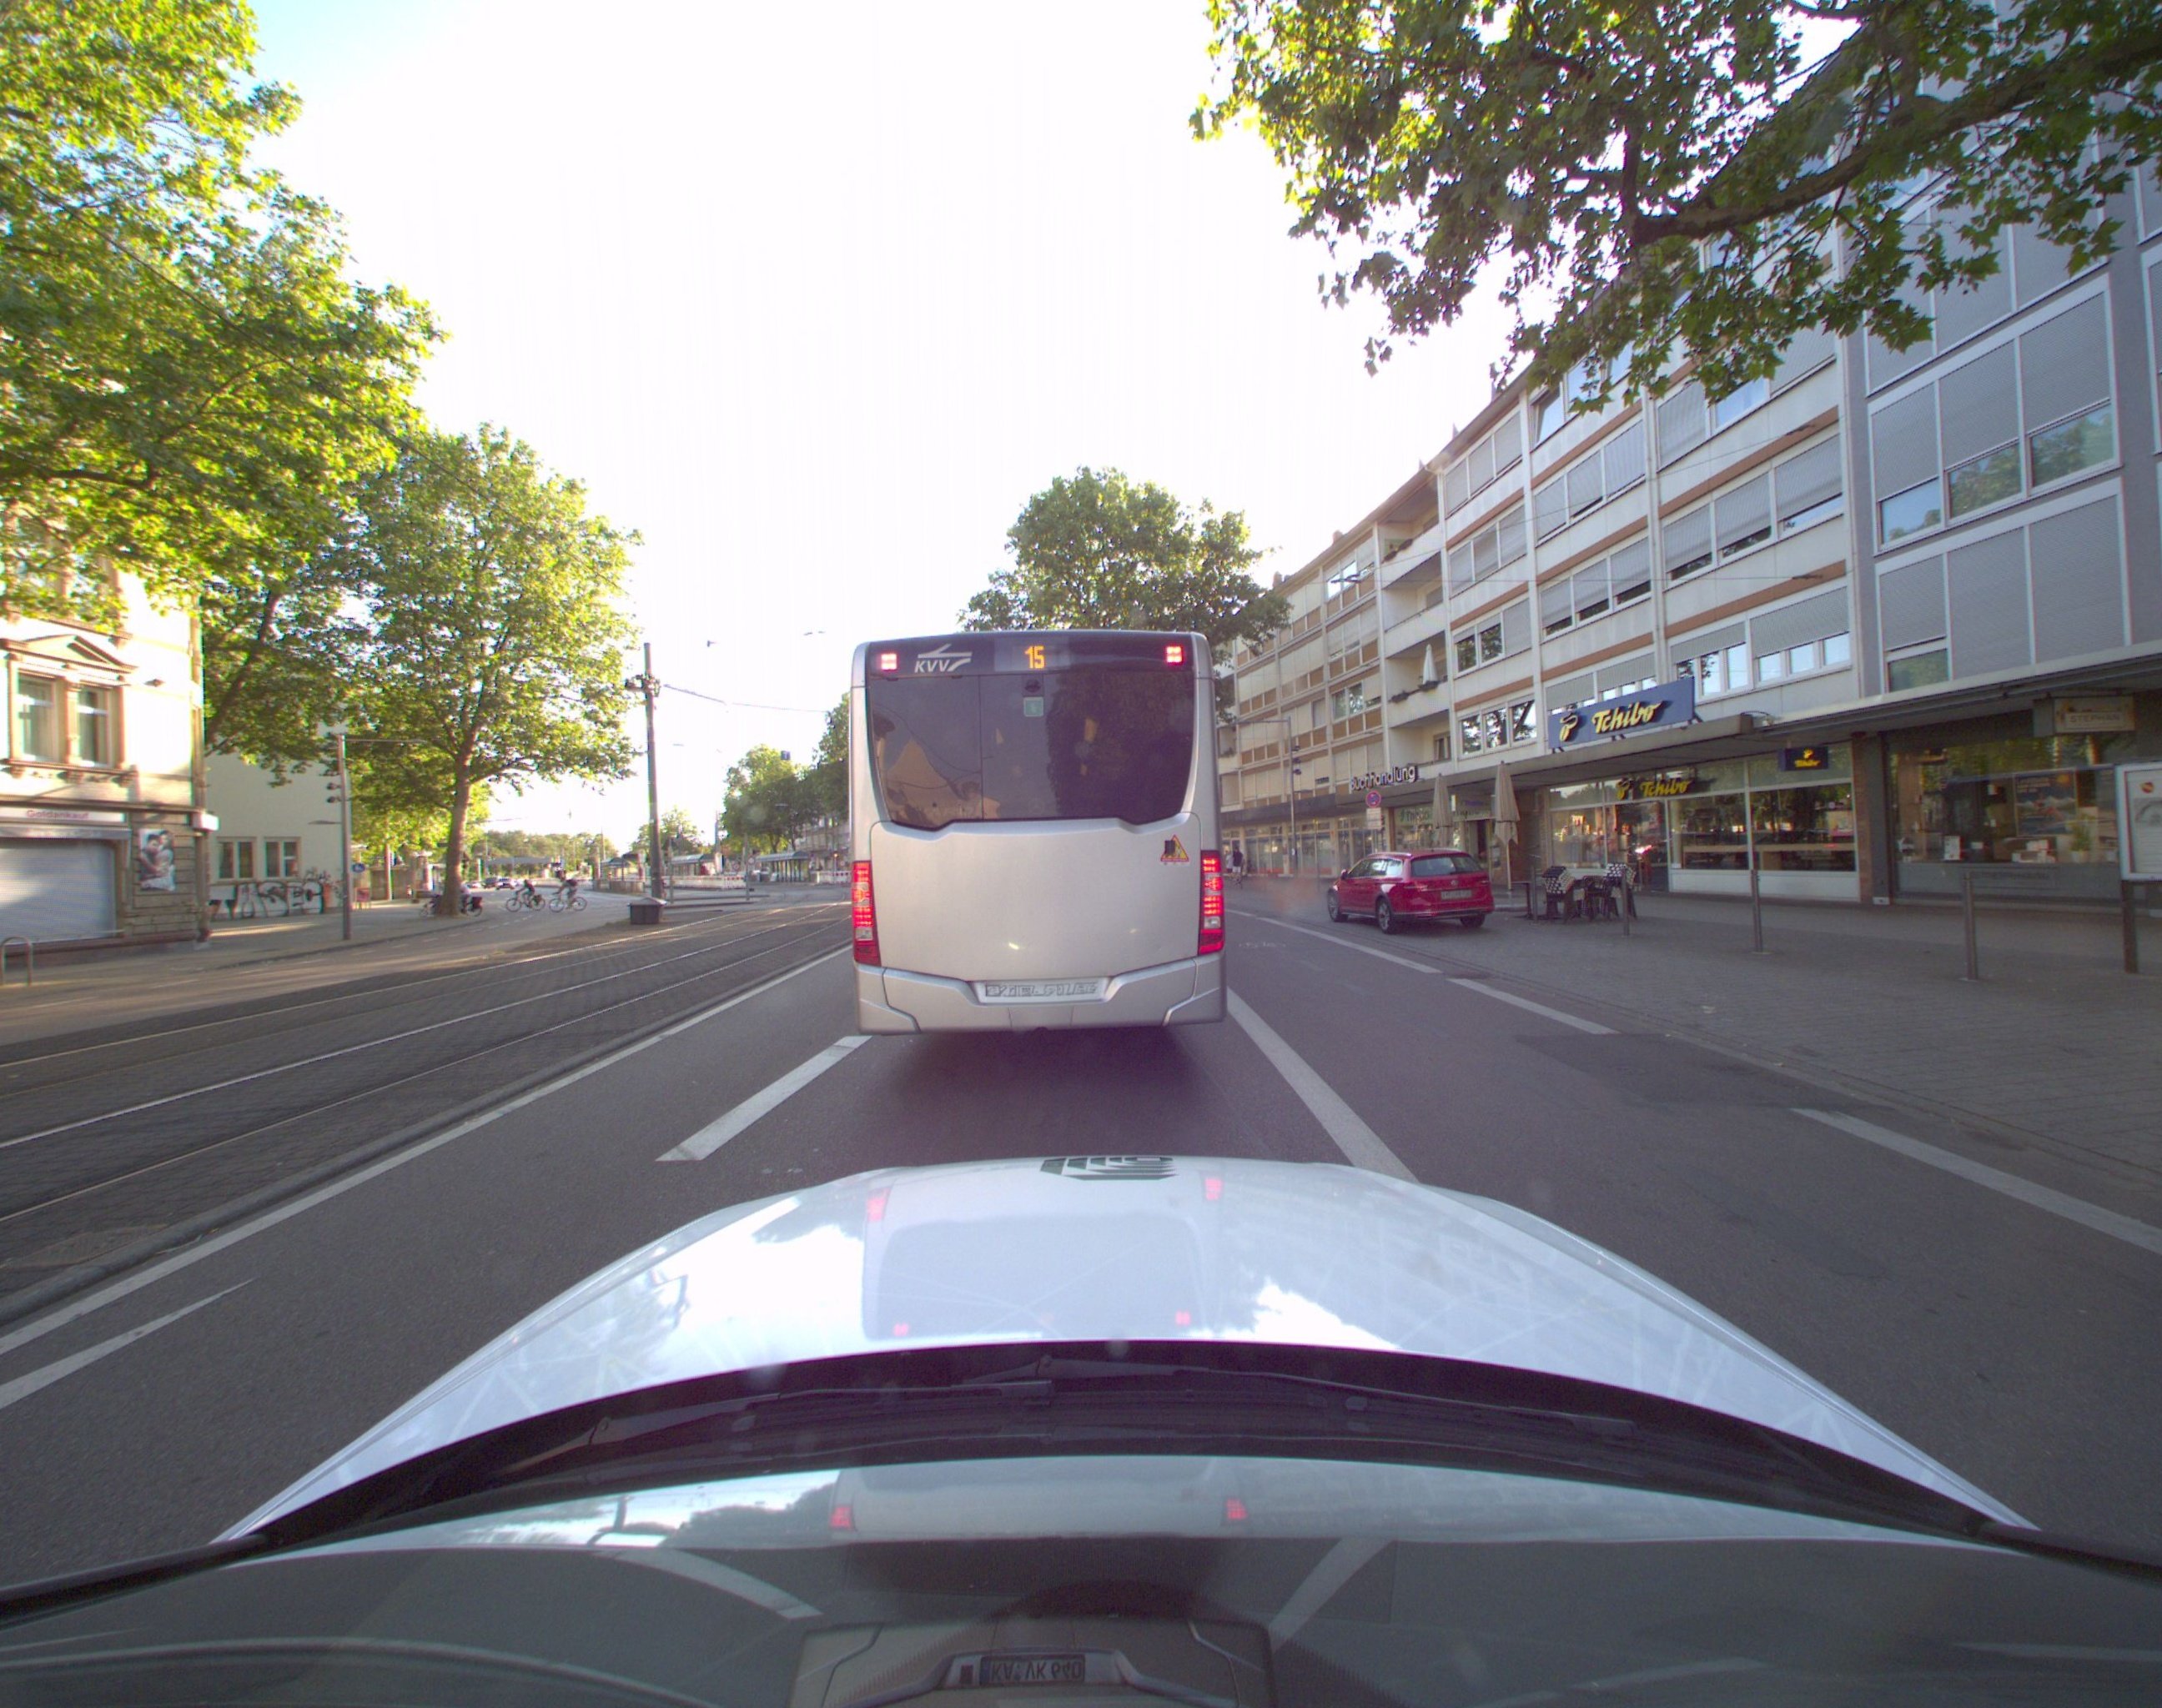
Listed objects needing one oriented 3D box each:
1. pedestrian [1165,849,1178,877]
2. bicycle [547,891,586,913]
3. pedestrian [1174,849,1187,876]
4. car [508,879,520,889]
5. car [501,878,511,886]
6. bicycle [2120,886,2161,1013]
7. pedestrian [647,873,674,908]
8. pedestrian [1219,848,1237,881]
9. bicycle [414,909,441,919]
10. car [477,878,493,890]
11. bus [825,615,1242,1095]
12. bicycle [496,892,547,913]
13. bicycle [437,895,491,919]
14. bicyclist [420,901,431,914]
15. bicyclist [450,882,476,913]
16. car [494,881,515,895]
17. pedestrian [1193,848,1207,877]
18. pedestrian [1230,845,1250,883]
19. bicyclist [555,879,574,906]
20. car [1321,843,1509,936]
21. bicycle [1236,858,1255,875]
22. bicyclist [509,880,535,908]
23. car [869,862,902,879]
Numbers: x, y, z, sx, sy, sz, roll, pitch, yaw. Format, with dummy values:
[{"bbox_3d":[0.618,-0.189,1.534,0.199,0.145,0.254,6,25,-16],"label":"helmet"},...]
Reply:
[{"bbox_3d":[5.585,0.552,50.096,0.536,1.648,0.612,-2,-1,-15],"label":"pedestrian"},{"bbox_3d":[-25.447,2.356,40.275,1.509,0.985,0.448,-2,-1,-18],"label":"bicycle"},{"bbox_3d":[6.157,0.528,50.564,0.536,1.648,0.612,-2,-1,-15],"label":"pedestrian"},{"bbox_3d":[-111.493,5.857,160.256,1.858,1.683,3.677,-4,1,-35],"label":"car"},{"bbox_3d":[-130.148,6.426,184.428,1.858,1.684,3.676,-2,-1,-35],"label":"car"},{"bbox_3d":[8.608,0.716,5.587,0.391,0.939,1.766,-4,0,-18],"label":"bicycle"},{"bbox_3d":[-20.745,1.776,40.205,0.994,1.686,0.642,-1,-2,-10],"label":"pedestrian"},{"bbox_3d":[7.309,0.533,40.569,0.646,1.581,0.557,-2,-1,-14],"label":"pedestrian"},{"bbox_3d":[-31.609,2.893,39.376,0.960,0.399,0.288,-2,-1,-20],"label":"bicycle"},{"bbox_3d":[-91.641,4.593,125.227,1.807,1.796,3.957,-2,-1,-34],"label":"car"},{"bbox_3d":[-0.158,0.033,10.207,2.621,3.028,10.000,-1,0,2],"label":"bus"},{"bbox_3d":[-29.519,2.546,42.985,2.020,0.937,0.757,-2,-1,-13],"label":"bicycle"},{"bbox_3d":[-29.369,2.527,38.804,1.916,1.005,0.615,-2,-1,-23],"label":"bicycle"},{"bbox_3d":[-31.674,2.586,39.362,0.309,0.590,0.278,-2,-1,-20],"label":"bicyclist"},{"bbox_3d":[-29.434,2.070,38.792,0.843,1.444,0.622,-2,-1,-23],"label":"bicyclist"},{"bbox_3d":[-73.227,4.288,103.469,2.008,1.640,3.958,-2,-1,-33],"label":"car"},{"bbox_3d":[7.056,0.514,48.330,0.536,1.648,0.612,-2,-1,-15],"label":"pedestrian"},{"bbox_3d":[7.362,0.449,37.714,0.646,1.717,0.557,-2,-1,-14],"label":"pedestrian"},{"bbox_3d":[-25.520,1.914,40.264,0.640,1.293,0.454,-2,-1,-17],"label":"bicyclist"},{"bbox_3d":[6.368,0.623,16.122,1.765,1.482,4.300,-4,0,-2],"label":"car"},{"bbox_3d":[9.269,0.724,45.930,0.413,0.945,1.431,-2,-1,-18],"label":"bicycle"},{"bbox_3d":[-29.497,2.106,42.994,0.840,1.444,0.753,-2,-1,-13],"label":"bicyclist"},{"bbox_3d":[-21.247,1.760,88.554,2.010,1.792,3.954,0,-1,-39],"label":"car"}]
